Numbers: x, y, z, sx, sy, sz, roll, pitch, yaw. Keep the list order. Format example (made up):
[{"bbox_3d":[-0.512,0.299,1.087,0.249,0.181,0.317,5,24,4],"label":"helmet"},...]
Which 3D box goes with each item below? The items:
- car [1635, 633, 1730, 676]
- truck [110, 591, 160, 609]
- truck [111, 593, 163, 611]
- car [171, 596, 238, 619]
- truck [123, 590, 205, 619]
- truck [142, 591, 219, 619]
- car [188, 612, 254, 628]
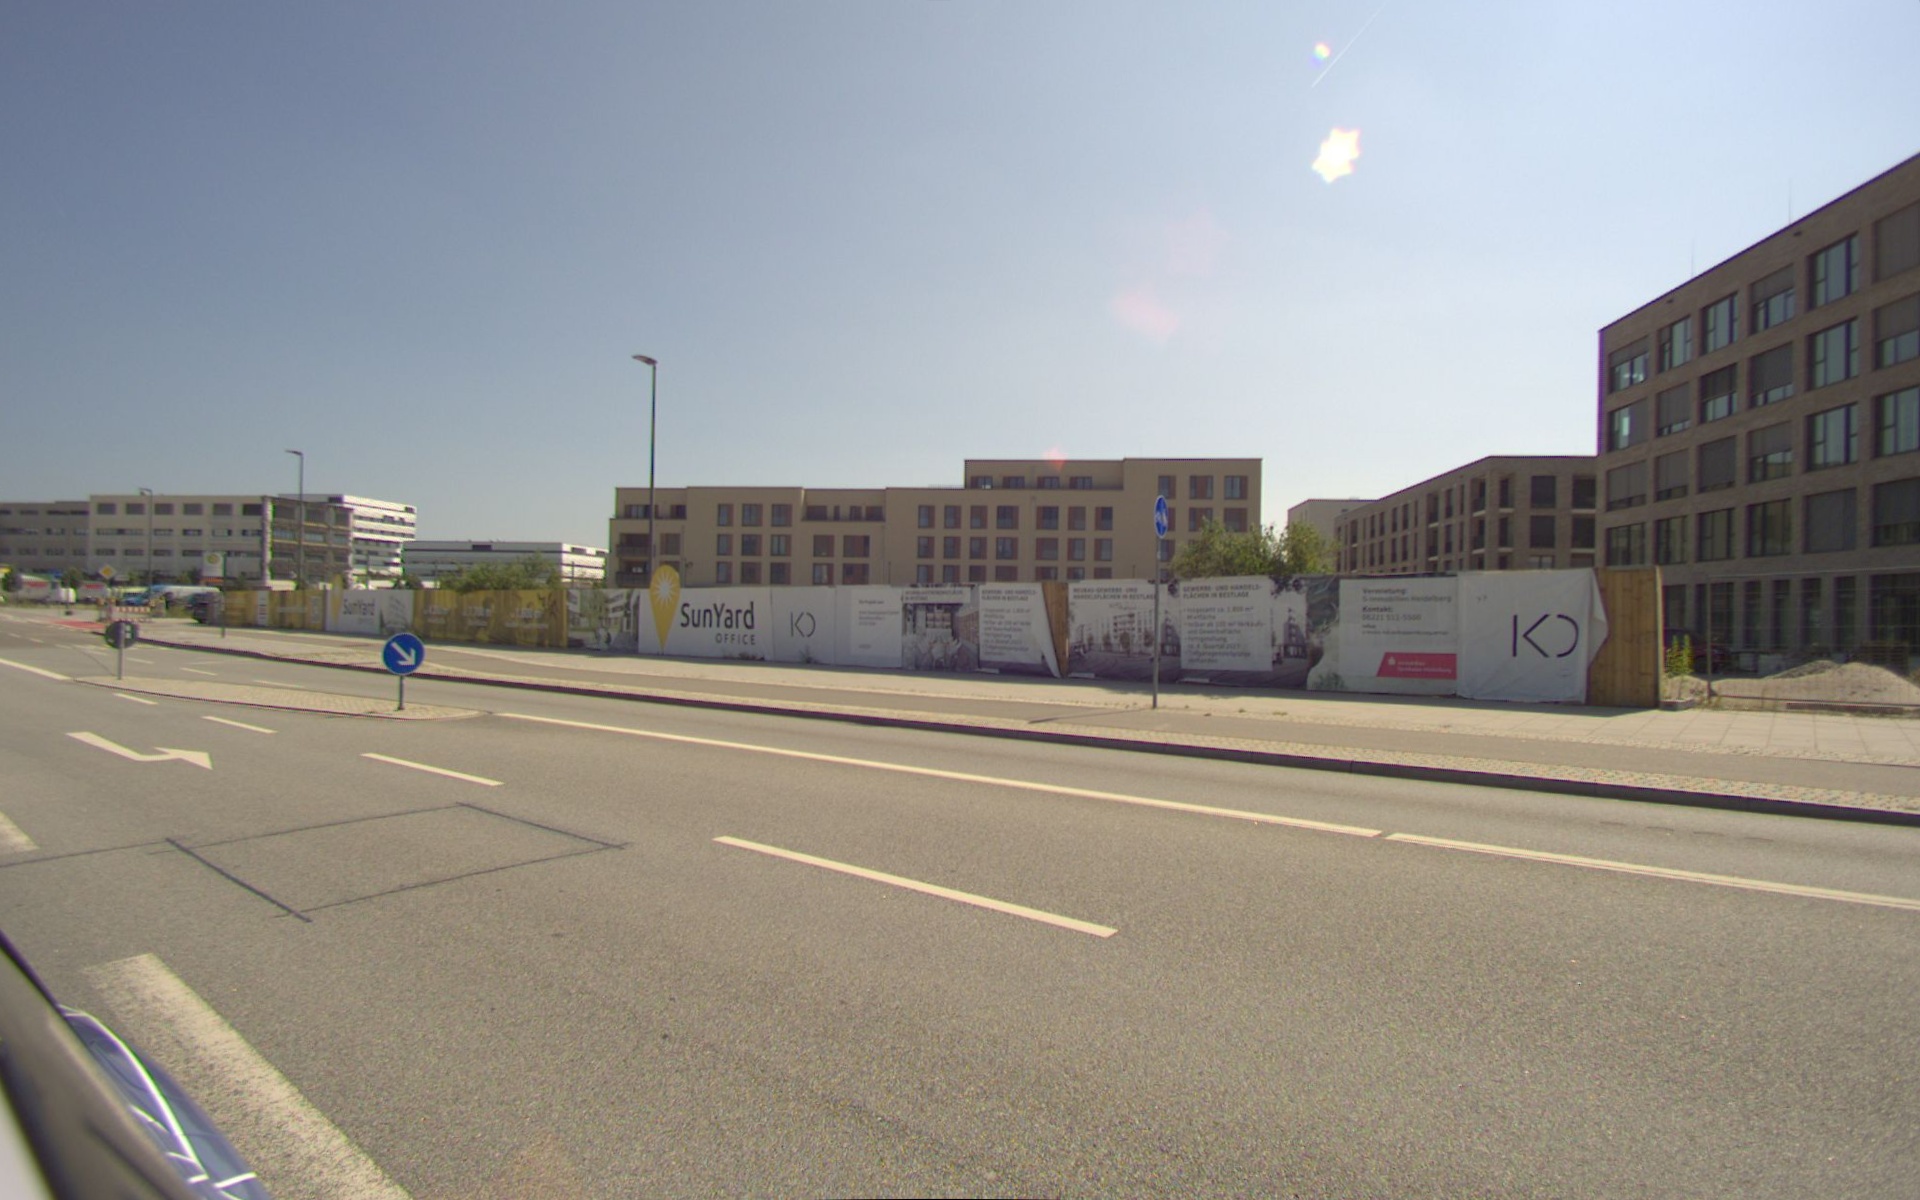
[{"bbox_3d":[32.022,2.388,44.980,1.814,1.666,3.772,0,0,7],"label":"car"},{"bbox_3d":[-120.231,-0.020,147.554,1.998,2.494,5.346,0,1,38],"label":"truck"},{"bbox_3d":[-114.757,0.279,141.161,1.996,2.494,5.270,0,1,36],"label":"truck"},{"bbox_3d":[-60.269,0.589,80.791,1.888,1.731,3.885,0,1,35],"label":"car"},{"bbox_3d":[-72.562,0.372,92.354,1.996,2.494,5.567,0,1,36],"label":"truck"},{"bbox_3d":[-67.134,0.411,87.259,1.998,2.245,4.942,0,1,39],"label":"truck"},{"bbox_3d":[-48.305,1.280,66.208,1.293,0.960,3.315,0,1,43],"label":"car"}]
